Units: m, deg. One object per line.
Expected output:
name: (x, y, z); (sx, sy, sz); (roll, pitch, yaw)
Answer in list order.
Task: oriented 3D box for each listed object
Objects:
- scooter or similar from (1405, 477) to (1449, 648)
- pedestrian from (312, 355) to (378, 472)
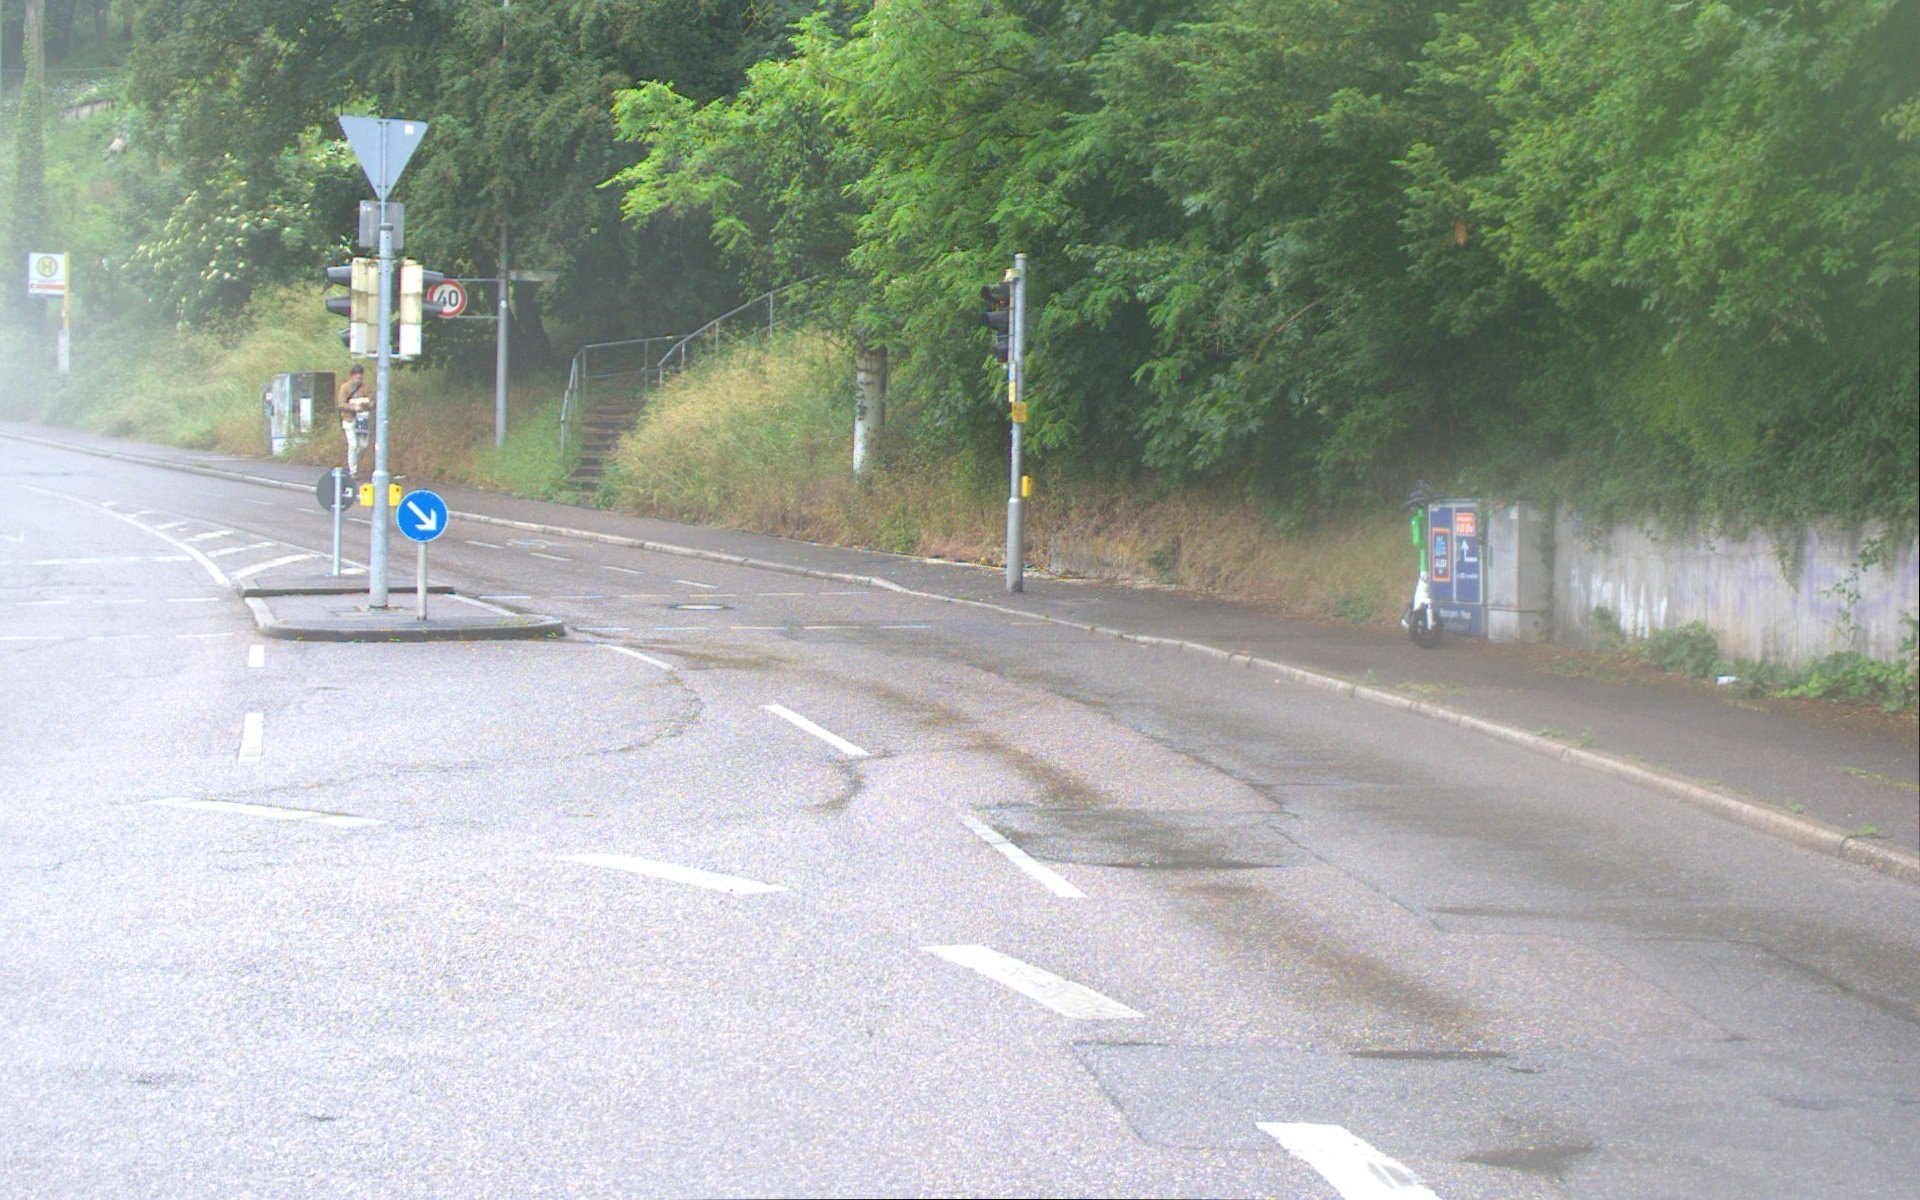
scooter or similar: (3.595, -0.296, 26.478); (0.322, 1.275, 0.751); (0, 4, 7)
pedestrian: (-9.420, -2.853, 52.670); (0.880, 1.730, 0.866); (0, 0, -17)
